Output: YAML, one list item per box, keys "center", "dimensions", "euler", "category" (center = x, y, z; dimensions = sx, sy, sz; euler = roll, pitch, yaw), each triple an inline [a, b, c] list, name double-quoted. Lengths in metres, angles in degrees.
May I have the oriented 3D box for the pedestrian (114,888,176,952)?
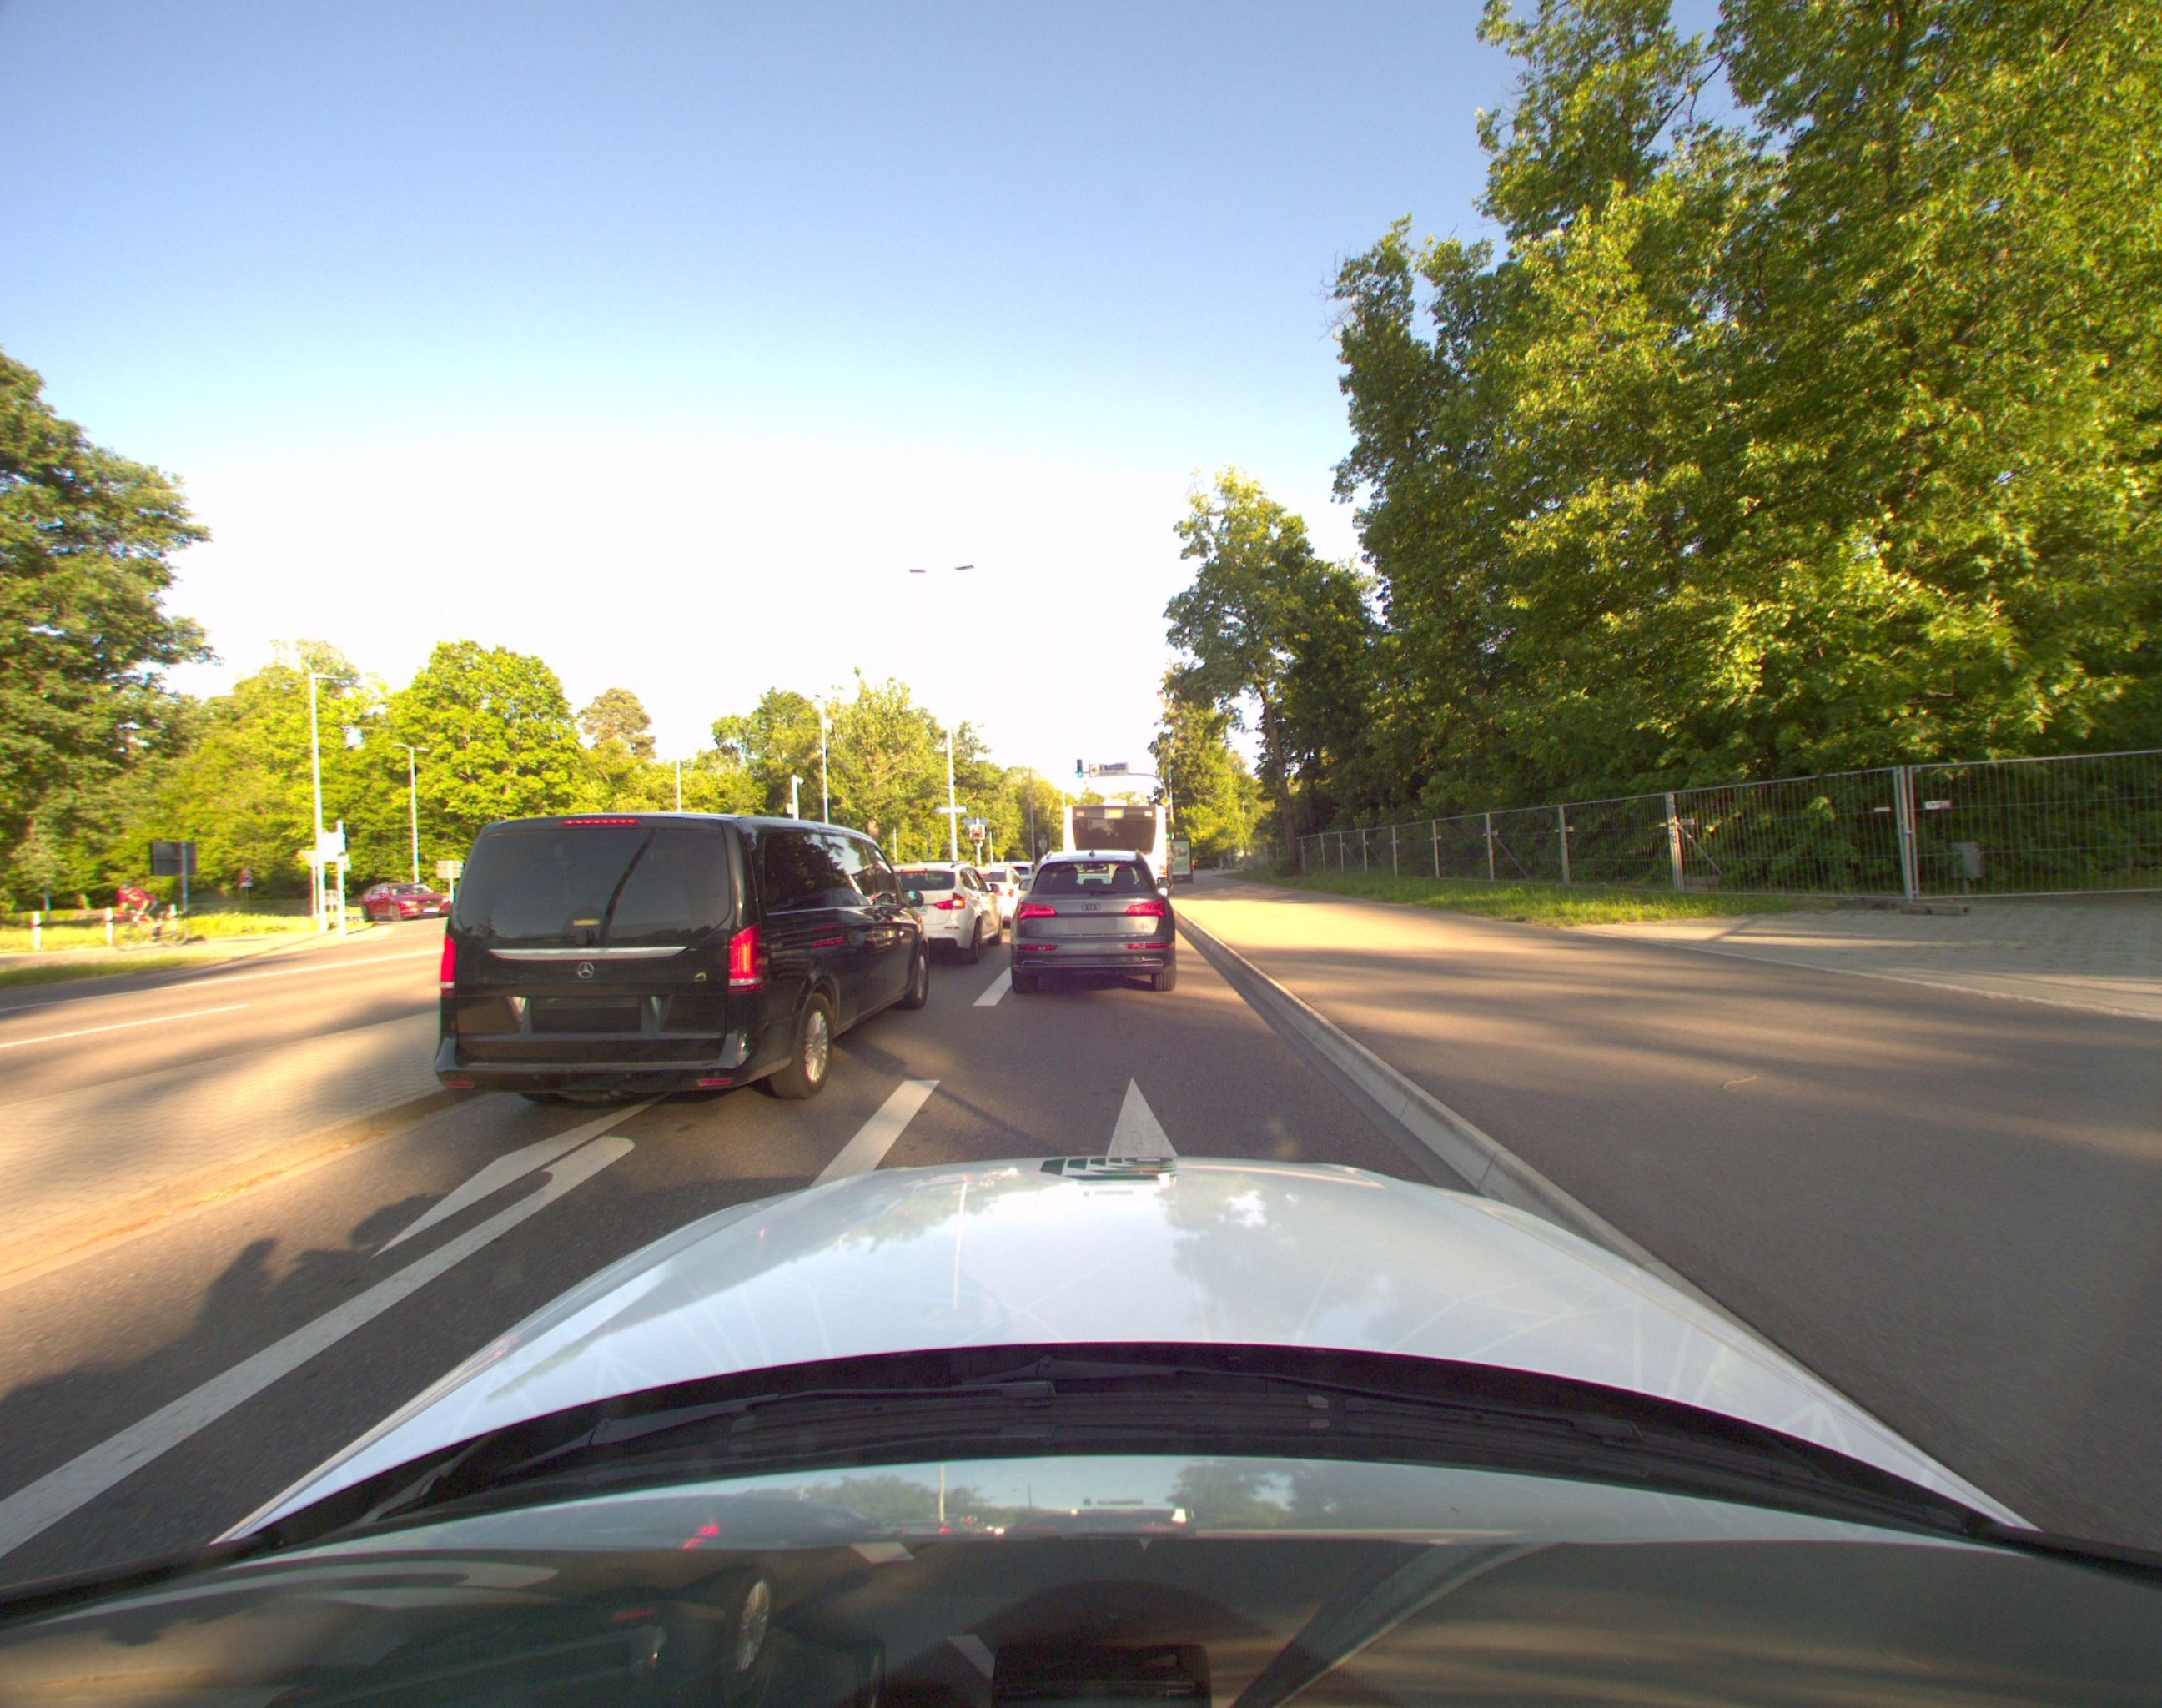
- center: [-23.206, 1.620, 20.200]
  dimensions: [0.736, 1.544, 0.674]
  euler: [0, -1, 4]
  category: "pedestrian"

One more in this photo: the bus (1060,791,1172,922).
- center: [1.002, 0.052, 22.524]
  dimensions: [2.667, 3.142, 5.886]
  euler: [0, 0, 3]
  category: "bus"

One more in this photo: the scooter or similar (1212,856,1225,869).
- center: [12.844, 0.804, 75.944]
  dimensions: [1.175, 1.174, 0.661]
  euler: [0, 0, 13]
  category: "scooter or similar"

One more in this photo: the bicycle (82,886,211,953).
- center: [-23.208, 1.590, 20.291]
  dimensions: [0.747, 1.551, 2.024]
  euler: [0, -1, 5]
  category: "bicycle"

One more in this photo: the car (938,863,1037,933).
- center: [-2.131, 0.967, 19.656]
  dimensions: [1.778, 1.444, 4.279]
  euler: [0, 0, 1]
  category: "car"

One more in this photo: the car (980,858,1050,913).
- center: [-2.037, 0.944, 26.160]
  dimensions: [1.801, 1.572, 4.002]
  euler: [0, 0, 2]
  category: "car"

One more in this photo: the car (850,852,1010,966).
- center: [-2.312, 0.819, 13.611]
  dimensions: [1.712, 1.581, 4.435]
  euler: [0, -1, 2]
  category: "car"

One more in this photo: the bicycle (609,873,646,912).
- center: [-20.990, 1.762, 37.747]
  dimensions: [0.613, 1.750, 1.993]
  euler: [0, -1, 0]
  category: "bicycle"

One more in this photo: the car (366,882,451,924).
- center: [-28.793, 2.038, 34.836]
  dimensions: [3.948, 1.618, 2.013]
  euler: [-1, -1, 38]
  category: "car"

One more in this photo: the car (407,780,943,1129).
- center: [-2.594, 0.544, 6.802]
  dimensions: [1.900, 1.856, 4.875]
  euler: [0, 0, 2]
  category: "car"

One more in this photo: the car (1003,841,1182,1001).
- center: [0.187, 0.695, 10.534]
  dimensions: [1.861, 1.664, 4.002]
  euler: [0, 0, 2]
  category: "car"

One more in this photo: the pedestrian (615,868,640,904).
- center: [-20.965, 1.483, 37.682]
  dimensions: [0.693, 1.626, 0.789]
  euler: [0, -1, 2]
  category: "pedestrian"
